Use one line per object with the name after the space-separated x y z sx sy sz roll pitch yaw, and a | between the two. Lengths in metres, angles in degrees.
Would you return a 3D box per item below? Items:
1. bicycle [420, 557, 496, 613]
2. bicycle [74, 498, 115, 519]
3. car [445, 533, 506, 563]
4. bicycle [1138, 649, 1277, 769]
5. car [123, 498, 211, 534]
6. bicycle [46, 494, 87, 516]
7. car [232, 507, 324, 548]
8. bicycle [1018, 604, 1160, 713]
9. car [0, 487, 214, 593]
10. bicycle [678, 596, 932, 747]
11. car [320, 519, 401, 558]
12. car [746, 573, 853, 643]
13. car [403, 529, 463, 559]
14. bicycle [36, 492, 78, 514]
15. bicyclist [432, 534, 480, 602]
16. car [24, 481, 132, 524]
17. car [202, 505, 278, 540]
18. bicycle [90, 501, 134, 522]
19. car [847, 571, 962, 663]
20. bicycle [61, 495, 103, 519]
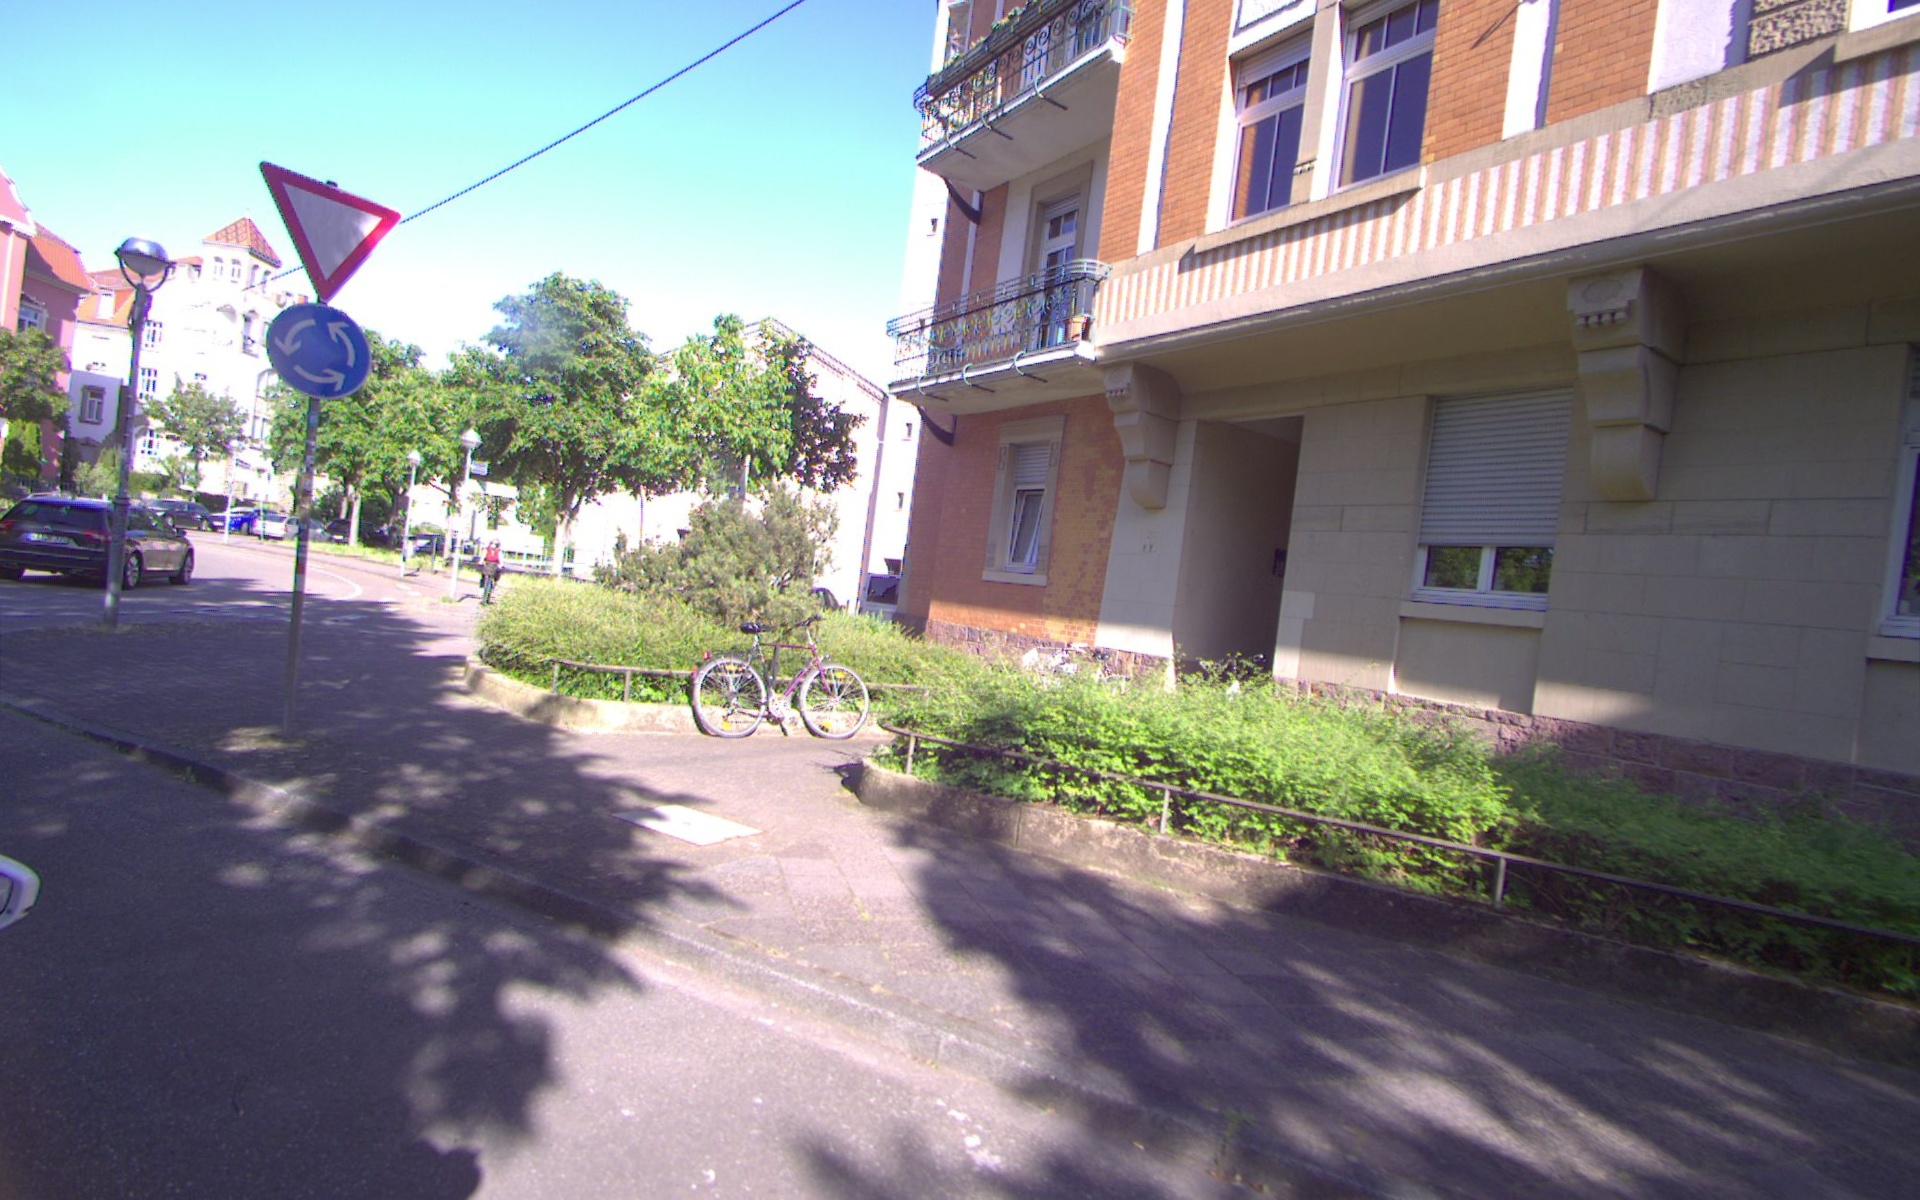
-11.350 -0.353 22.724 1.843 1.049 0.508 7 1 29 | bicycle
-43.779 -4.628 50.907 2.243 0.833 0.479 7 1 20 | bicycle
-29.998 -3.205 62.426 1.763 1.473 3.783 7 0 1 | car
2.421 1.078 9.743 1.550 1.074 0.268 7 1 -36 | bicycle
-40.414 -4.261 51.367 1.729 1.386 3.640 7 0 -6 | car
-43.968 -4.675 49.498 2.243 0.810 0.479 7 1 20 | bicycle
-32.655 -3.436 48.278 1.531 1.473 3.976 7 0 1 | car
1.469 0.673 11.271 1.668 1.074 0.384 7 1 -36 | bicycle
-15.293 -1.054 18.125 1.695 1.501 4.125 7 0 -19 | car
-1.324 0.682 9.005 2.210 1.174 0.384 7 1 -36 | bicycle
-29.228 -2.965 49.165 1.531 1.473 3.737 7 0 1 | car
-4.030 0.218 25.724 1.542 1.491 3.516 7 0 9 | car
-32.556 -3.432 62.209 1.630 1.454 3.457 7 0 2 | car
-43.757 -4.700 48.751 1.990 0.810 0.479 7 1 15 | bicycle
-11.409 -0.726 22.765 0.728 1.434 0.510 7 1 27 | bicyclist
-40.049 -4.407 45.797 1.728 1.386 3.641 7 0 -3 | car
-40.294 -4.309 56.399 1.640 1.506 3.475 7 0 -1 | car
-43.551 -4.549 51.661 2.243 0.795 0.626 7 1 20 | bicycle
-1.376 0.455 26.660 1.962 2.039 4.001 7 0 10 | car
-43.534 -4.636 49.899 2.243 0.926 0.479 7 1 20 | bicycle
